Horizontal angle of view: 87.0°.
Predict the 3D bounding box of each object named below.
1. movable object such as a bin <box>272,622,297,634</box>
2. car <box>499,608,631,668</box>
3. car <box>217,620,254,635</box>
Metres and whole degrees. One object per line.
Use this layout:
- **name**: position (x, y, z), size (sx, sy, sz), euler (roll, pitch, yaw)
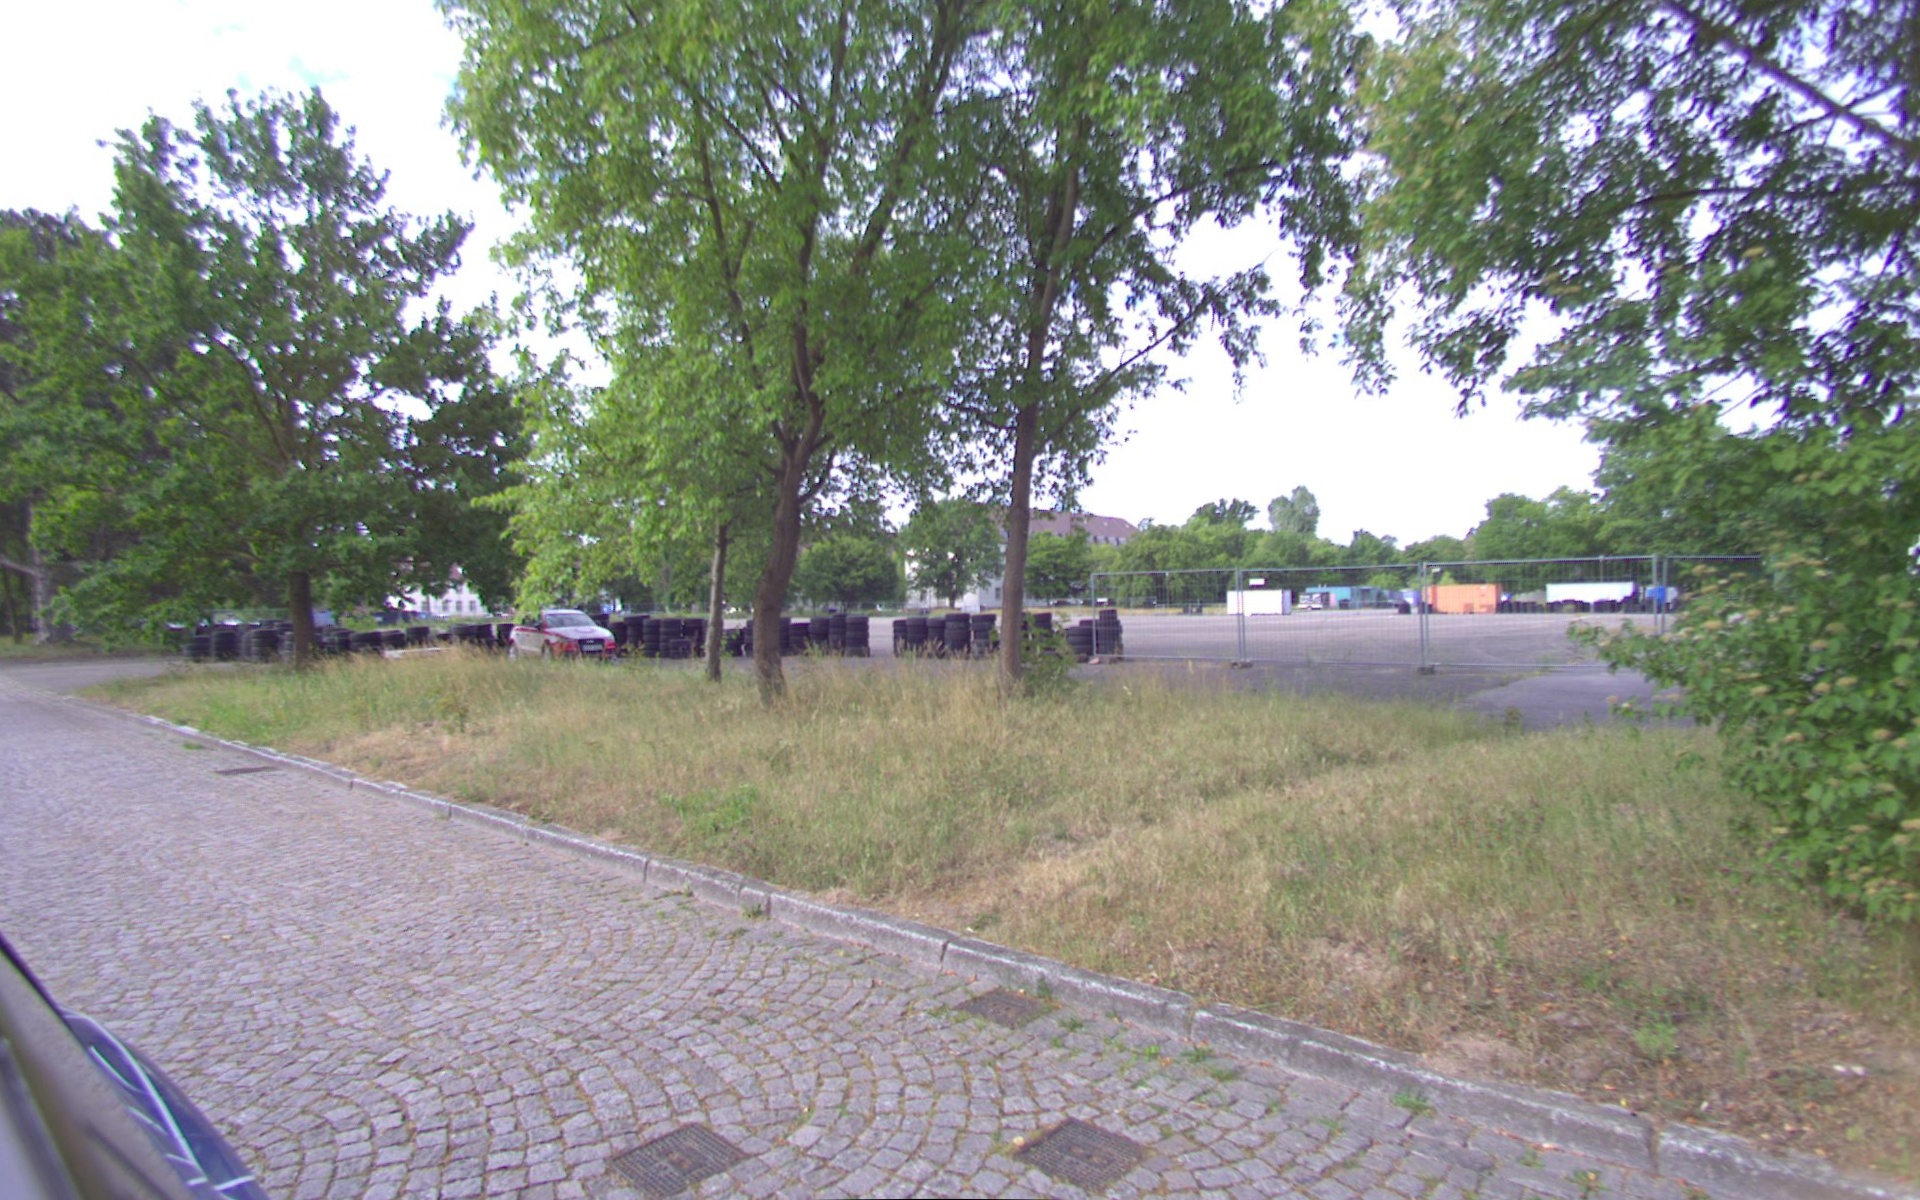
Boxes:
- **movable object such as a bin**: position (-66.005, 2.755, 98.866), size (2.712, 1.079, 1.046), euler (-1, -1, 33)
- **car**: position (-10.483, 0.964, 26.701), size (1.802, 1.442, 4.222), euler (-1, -1, -43)
- **car**: position (-76.297, 2.900, 106.521), size (4.446, 1.460, 1.975), euler (-1, -1, 38)
